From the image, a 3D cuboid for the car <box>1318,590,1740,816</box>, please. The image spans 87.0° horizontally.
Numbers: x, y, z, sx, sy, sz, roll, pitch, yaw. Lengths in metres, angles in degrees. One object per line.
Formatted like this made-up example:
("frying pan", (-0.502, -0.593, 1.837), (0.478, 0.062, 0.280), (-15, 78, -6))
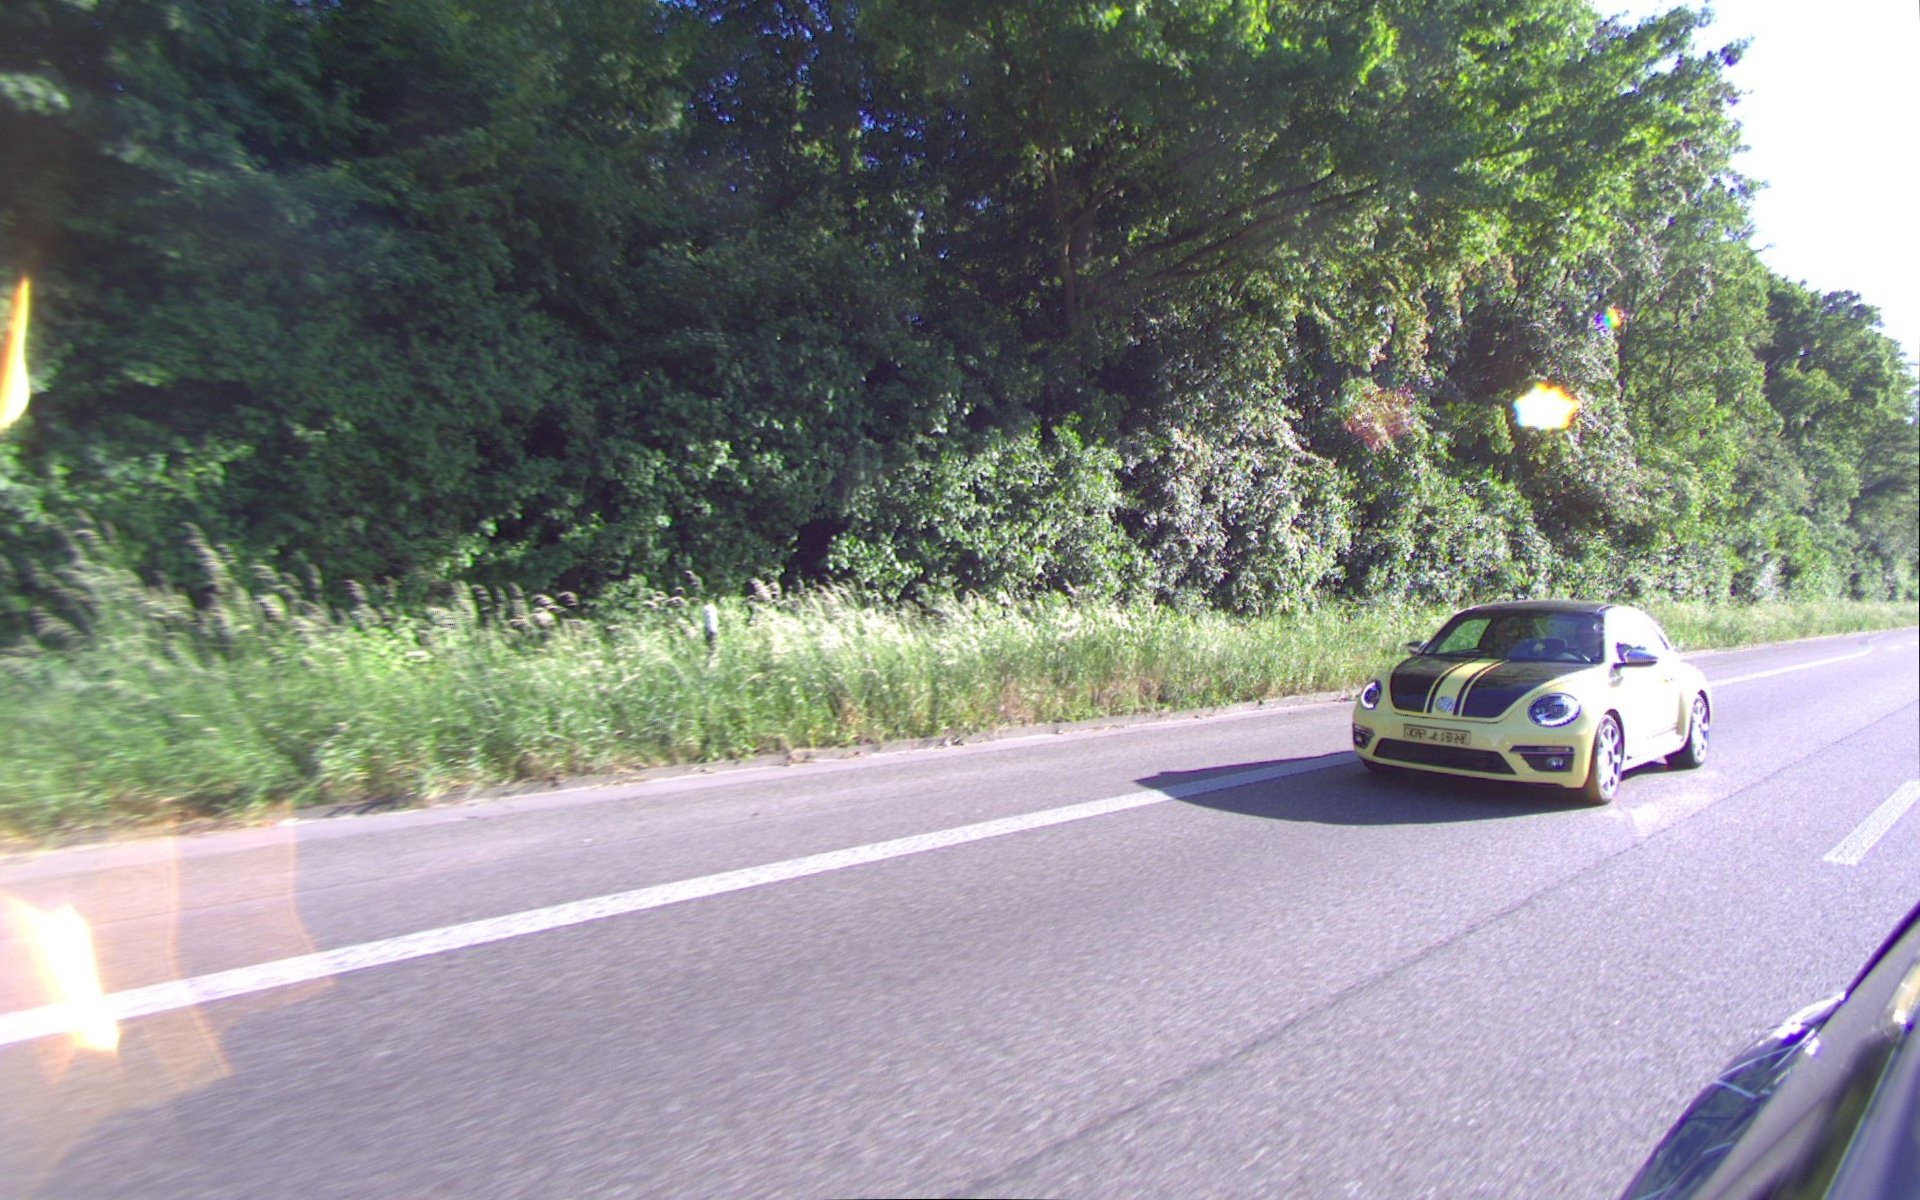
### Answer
("car", (5.086, 0.667, 8.789), (4.280, 1.480, 1.883), (0, 1, -41))
